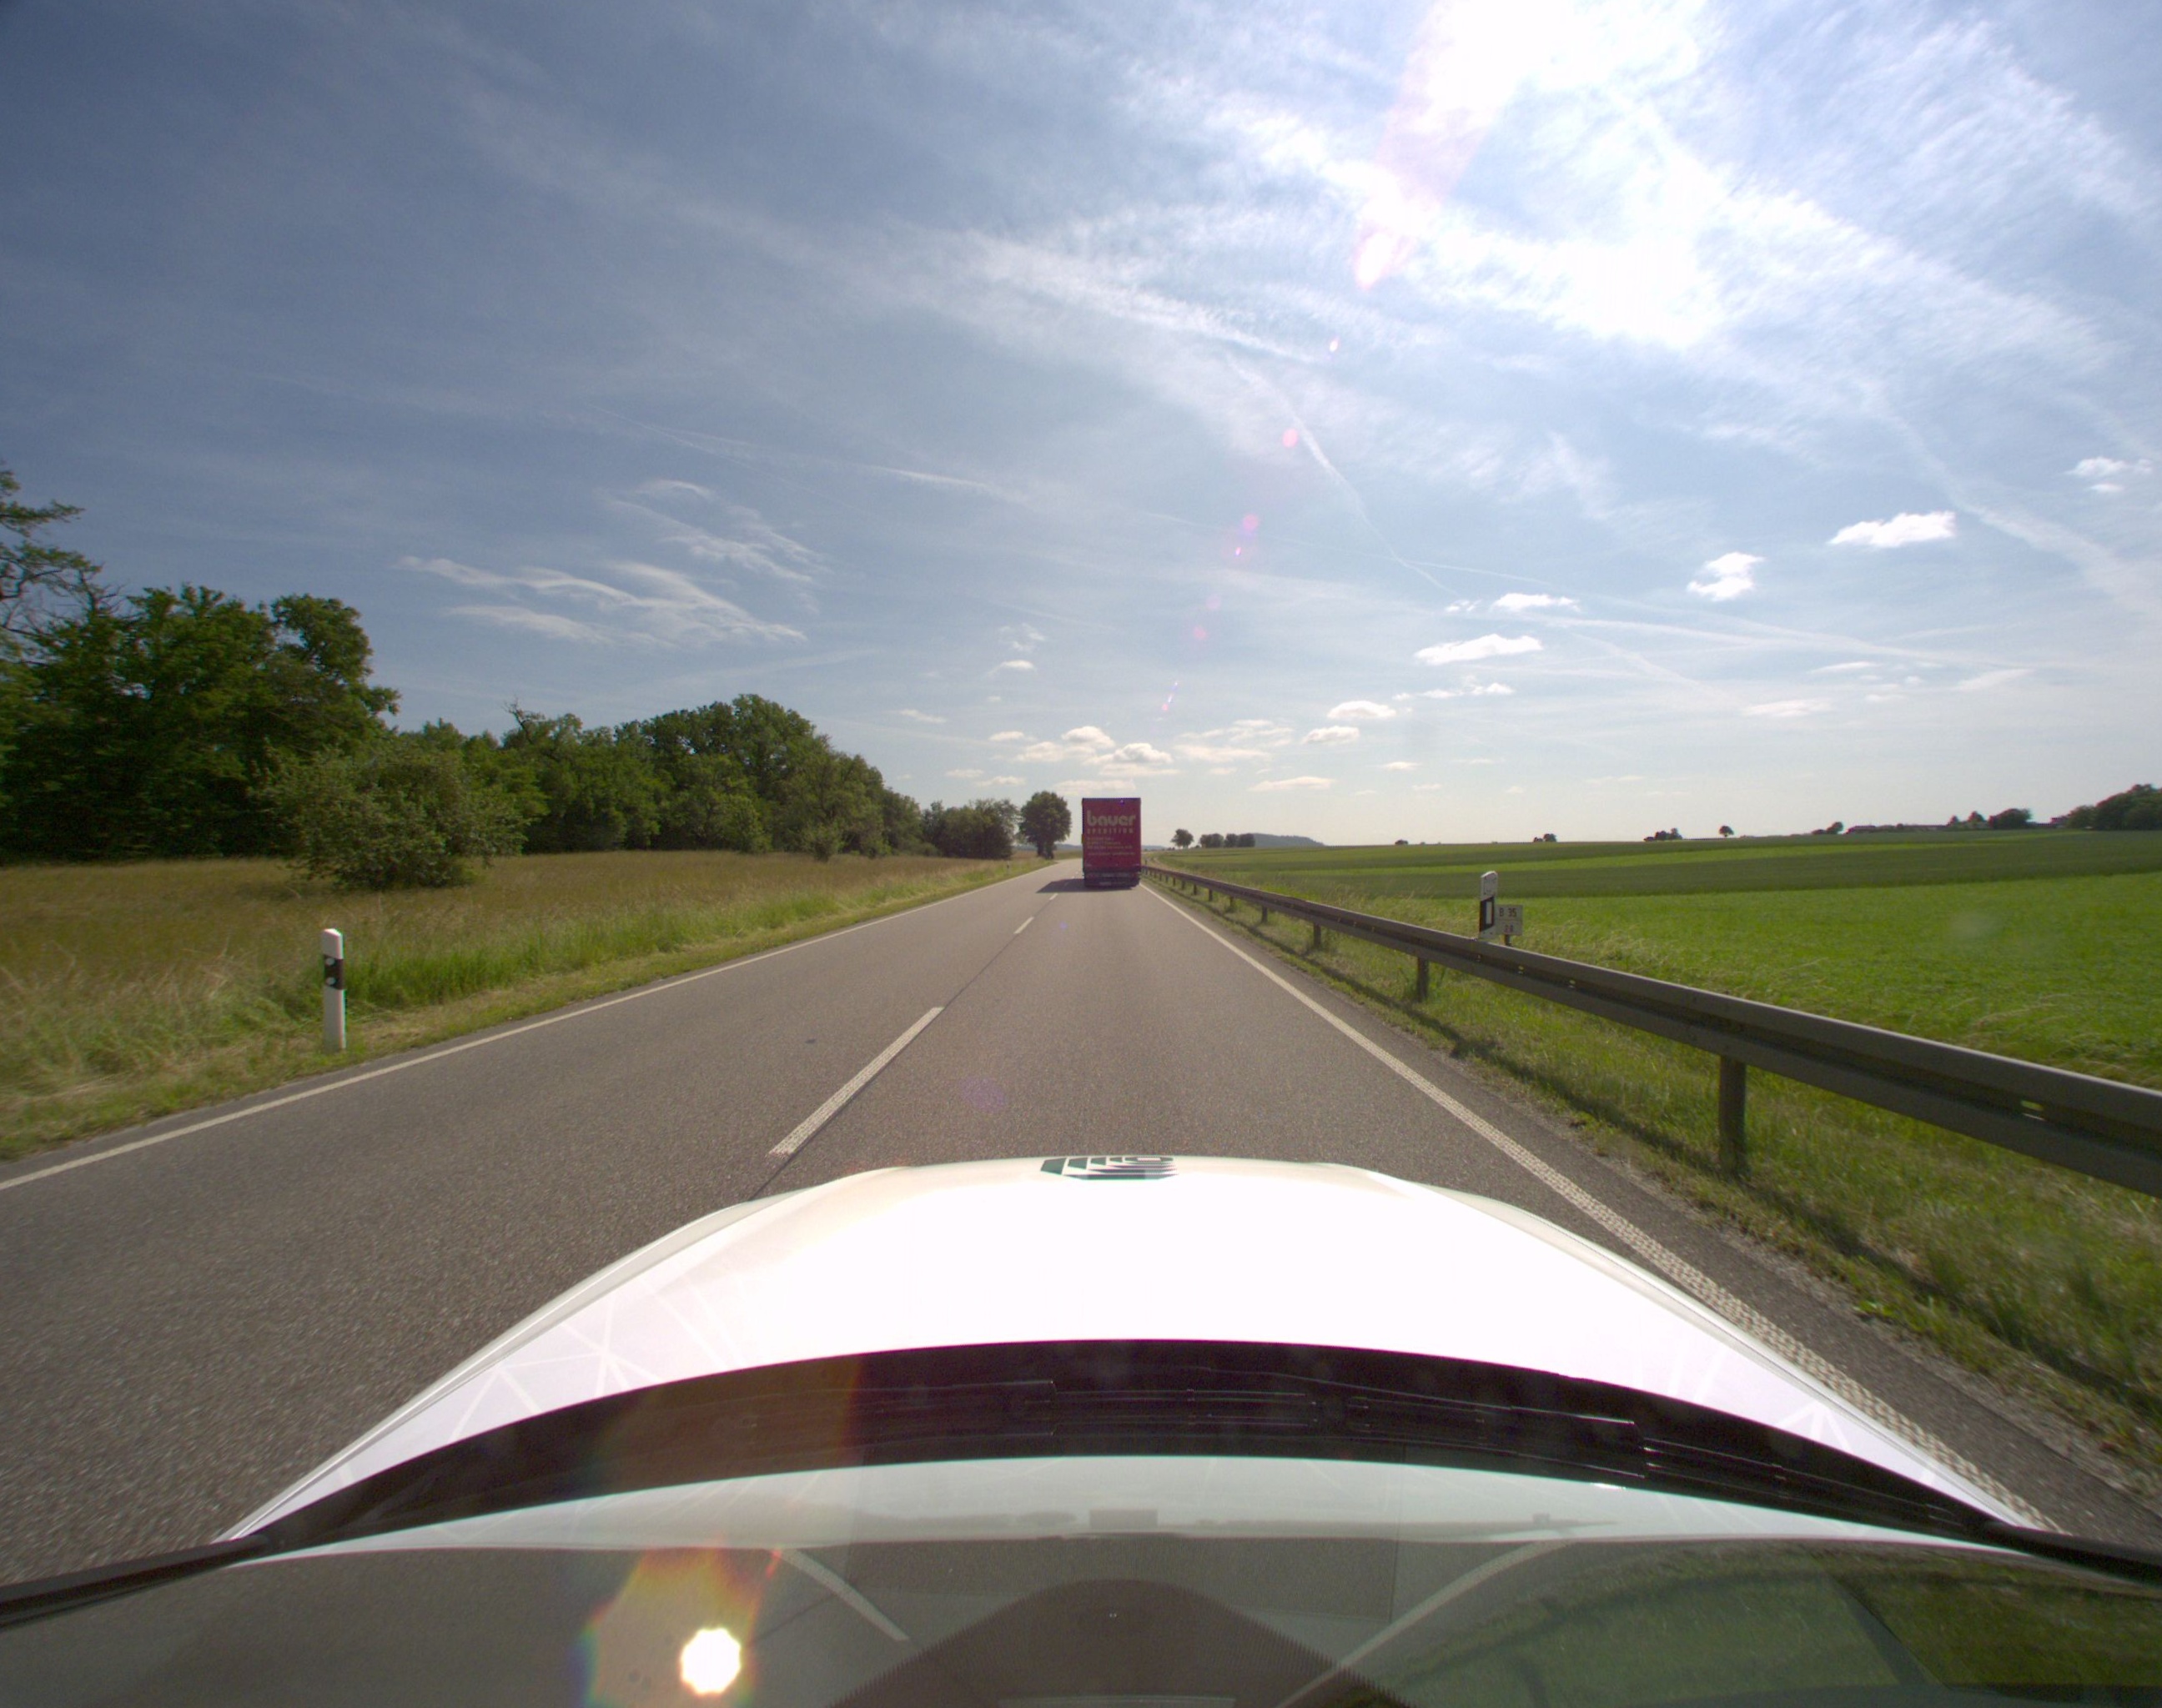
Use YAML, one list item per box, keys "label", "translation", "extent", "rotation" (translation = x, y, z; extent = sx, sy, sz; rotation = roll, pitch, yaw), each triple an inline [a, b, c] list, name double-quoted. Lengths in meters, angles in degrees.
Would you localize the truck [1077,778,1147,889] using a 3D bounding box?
- label: "truck"
  translation: [1.401, -0.828, 39.412]
  extent: [2.965, 4.713, 9.366]
  rotation: [0, -1, 1]
